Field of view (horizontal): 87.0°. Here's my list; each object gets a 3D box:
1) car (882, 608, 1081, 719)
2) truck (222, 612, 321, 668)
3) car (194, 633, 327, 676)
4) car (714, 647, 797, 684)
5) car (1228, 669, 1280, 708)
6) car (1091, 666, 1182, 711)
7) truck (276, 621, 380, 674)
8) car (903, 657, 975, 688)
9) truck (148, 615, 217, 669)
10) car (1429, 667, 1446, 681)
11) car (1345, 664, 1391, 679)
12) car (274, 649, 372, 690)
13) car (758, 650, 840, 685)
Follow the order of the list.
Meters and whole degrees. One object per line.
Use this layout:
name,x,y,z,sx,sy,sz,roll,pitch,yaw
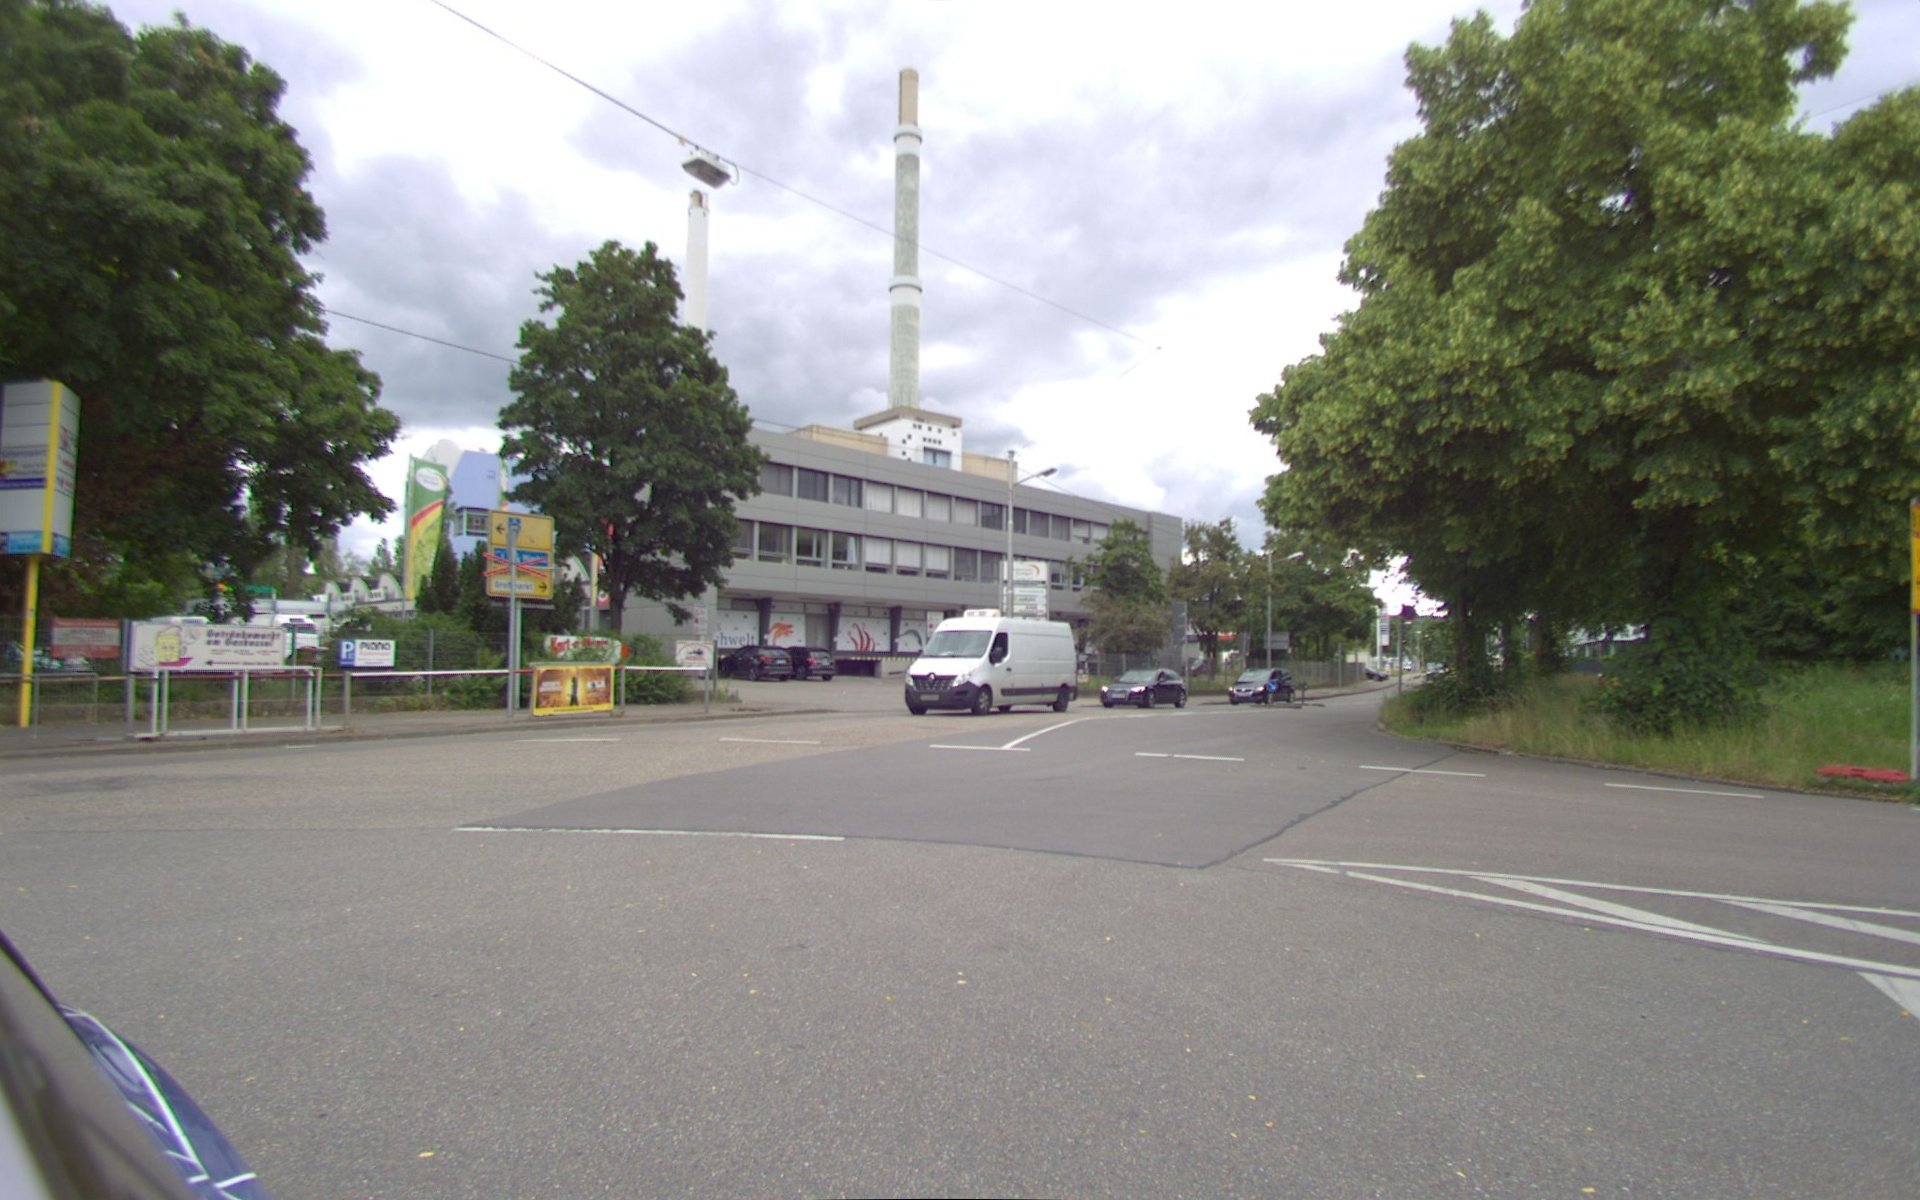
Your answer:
car,0.739,1.627,25.809,2.381,2.478,6.034,-3,-5,31
truck,-54.075,3.244,79.210,15.727,3.964,2.812,-3,-5,43
car,-47.677,3.759,69.160,2.244,2.754,7.050,-3,-6,44
car,-9.921,3.150,48.907,1.811,1.630,4.469,4,-4,-44
car,13.189,3.901,45.285,1.784,1.653,4.407,-1,-4,22
car,6.408,3.132,36.353,1.858,1.524,4.396,-2,-4,29
truck,-51.633,3.919,82.347,15.724,3.964,2.812,-3,-5,42
car,-1.225,3.943,55.504,2.015,1.456,4.844,2,-2,-27
truck,-63.370,3.476,82.413,9.191,4.198,2.956,-3,-5,44
car,56.786,8.775,120.419,1.786,1.653,4.403,-2,-4,25
car,53.028,9.318,131.534,5.435,1.884,2.009,-2,-4,26
car,-20.801,2.266,33.022,3.700,1.258,1.686,-3,-5,41
car,-8.156,3.369,50.973,1.812,1.630,4.426,4,-4,-45
